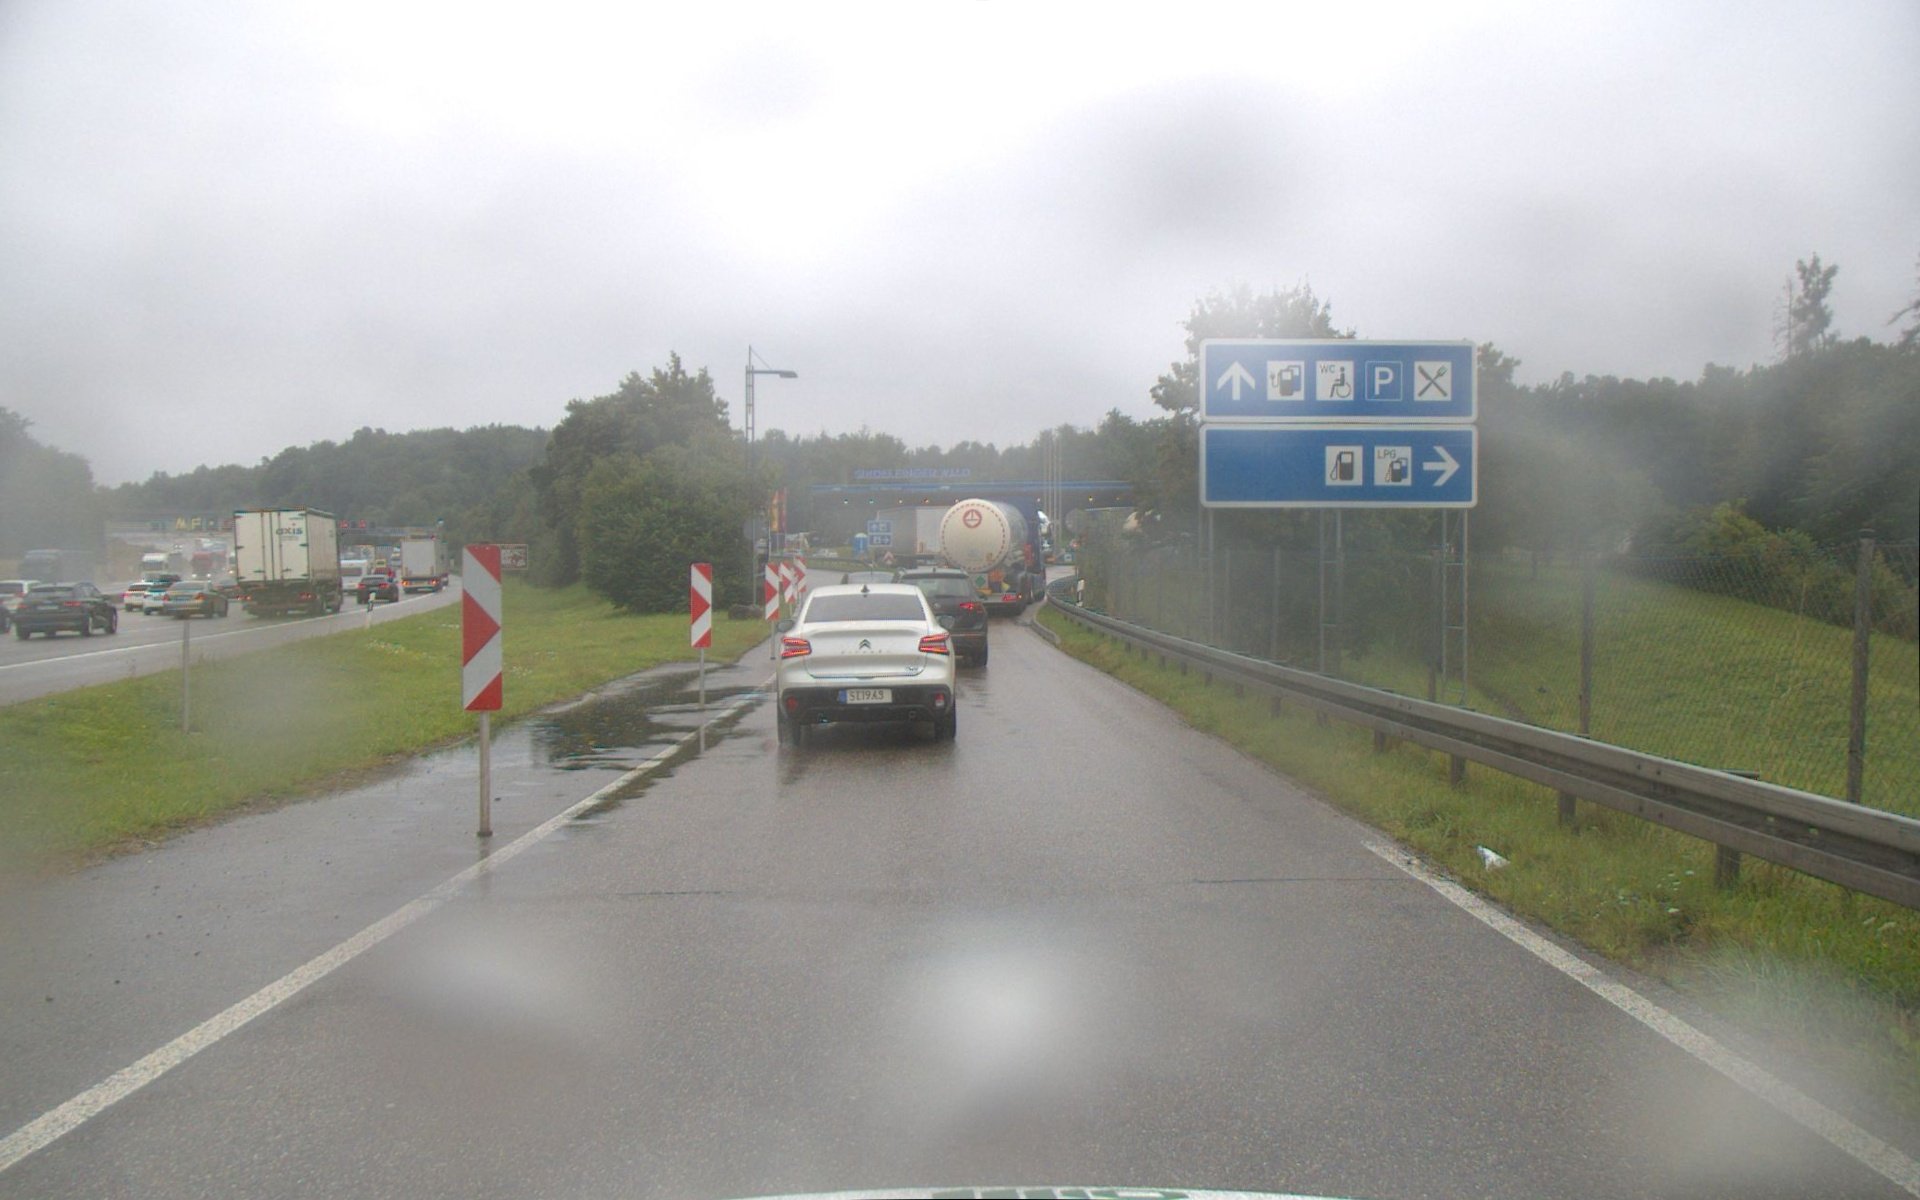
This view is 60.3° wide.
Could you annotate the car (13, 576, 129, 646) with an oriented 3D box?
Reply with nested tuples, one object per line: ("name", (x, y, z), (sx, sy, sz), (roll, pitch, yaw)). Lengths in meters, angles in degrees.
("car", (-23.914, 0.262, 44.621), (1.745, 1.766, 3.834), (-2, 1, -13))

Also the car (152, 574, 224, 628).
("car", (-30.035, 0.009, 64.479), (1.758, 2.005, 4.318), (-1, 1, -14))

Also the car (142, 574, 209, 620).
("car", (-36.401, -0.158, 76.820), (1.960, 2.049, 3.986), (2, 0, -14))

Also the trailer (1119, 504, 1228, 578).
("trailer", (11.010, -3.055, 84.328), (2.090, 3.500, 10.242), (0, 2, 27))

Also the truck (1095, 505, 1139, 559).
("truck", (11.568, -5.081, 122.333), (2.379, 3.871, 3.995), (-2, 3, -7))

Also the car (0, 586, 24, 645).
("car", (-29.722, 0.481, 49.537), (1.745, 1.766, 4.087), (-1, 1, -12))

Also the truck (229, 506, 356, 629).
("truck", (-26.176, -1.198, 65.431), (2.801, 4.367, 11.800), (-2, 1, -14))

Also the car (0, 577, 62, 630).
("car", (-38.329, 0.133, 67.428), (1.960, 2.048, 3.986), (-2, 1, -13))

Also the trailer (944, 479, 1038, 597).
("trailer", (1.103, -1.936, 51.470), (1.938, 3.280, 10.331), (0, 2, 6))

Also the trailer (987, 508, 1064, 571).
("trailer", (4.487, -4.350, 117.328), (3.157, 4.261, 11.505), (0, 2, -10))

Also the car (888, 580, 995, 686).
("car", (-0.340, 0.541, 29.157), (1.707, 1.696, 3.999), (2, 0, -1))

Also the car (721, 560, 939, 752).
("car", (-1.268, 0.482, 17.045), (1.954, 1.708, 3.998), (-1, 1, -3))

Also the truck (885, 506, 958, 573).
("truck", (-2.574, -3.838, 104.894), (2.329, 3.940, 12.420), (-2, 3, -12))

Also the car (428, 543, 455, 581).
("car", (-50.201, -3.654, 159.944), (2.336, 3.546, 4.790), (2, 0, -18))

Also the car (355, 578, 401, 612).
("car", (-31.887, -0.282, 90.679), (1.960, 1.847, 3.986), (0, 1, -14))

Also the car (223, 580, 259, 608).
("car", (-48.204, -0.396, 110.952), (1.670, 1.818, 3.770), (-1, 1, -15))

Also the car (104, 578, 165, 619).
("car", (-43.365, -0.122, 86.976), (1.960, 2.048, 3.986), (-2, 1, -14))

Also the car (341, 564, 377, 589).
("car", (-45.127, -1.748, 124.234), (1.958, 1.847, 3.989), (1, 1, -11))

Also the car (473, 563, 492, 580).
("car", (-59.160, -3.534, 204.710), (1.964, 2.049, 3.977), (2, 0, -20))

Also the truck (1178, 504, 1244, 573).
("truck", (13.583, -3.344, 89.339), (2.105, 3.573, 4.641), (0, 2, 27))

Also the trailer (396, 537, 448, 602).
("trailer", (-41.409, -2.260, 127.195), (3.494, 4.692, 12.056), (-2, 1, -18))

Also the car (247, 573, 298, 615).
("car", (-34.853, -0.322, 83.959), (1.962, 2.049, 3.982), (-1, 1, -17))

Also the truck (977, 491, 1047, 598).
("truck", (1.879, -1.951, 58.100), (2.009, 3.592, 4.750), (0, 2, 7))
